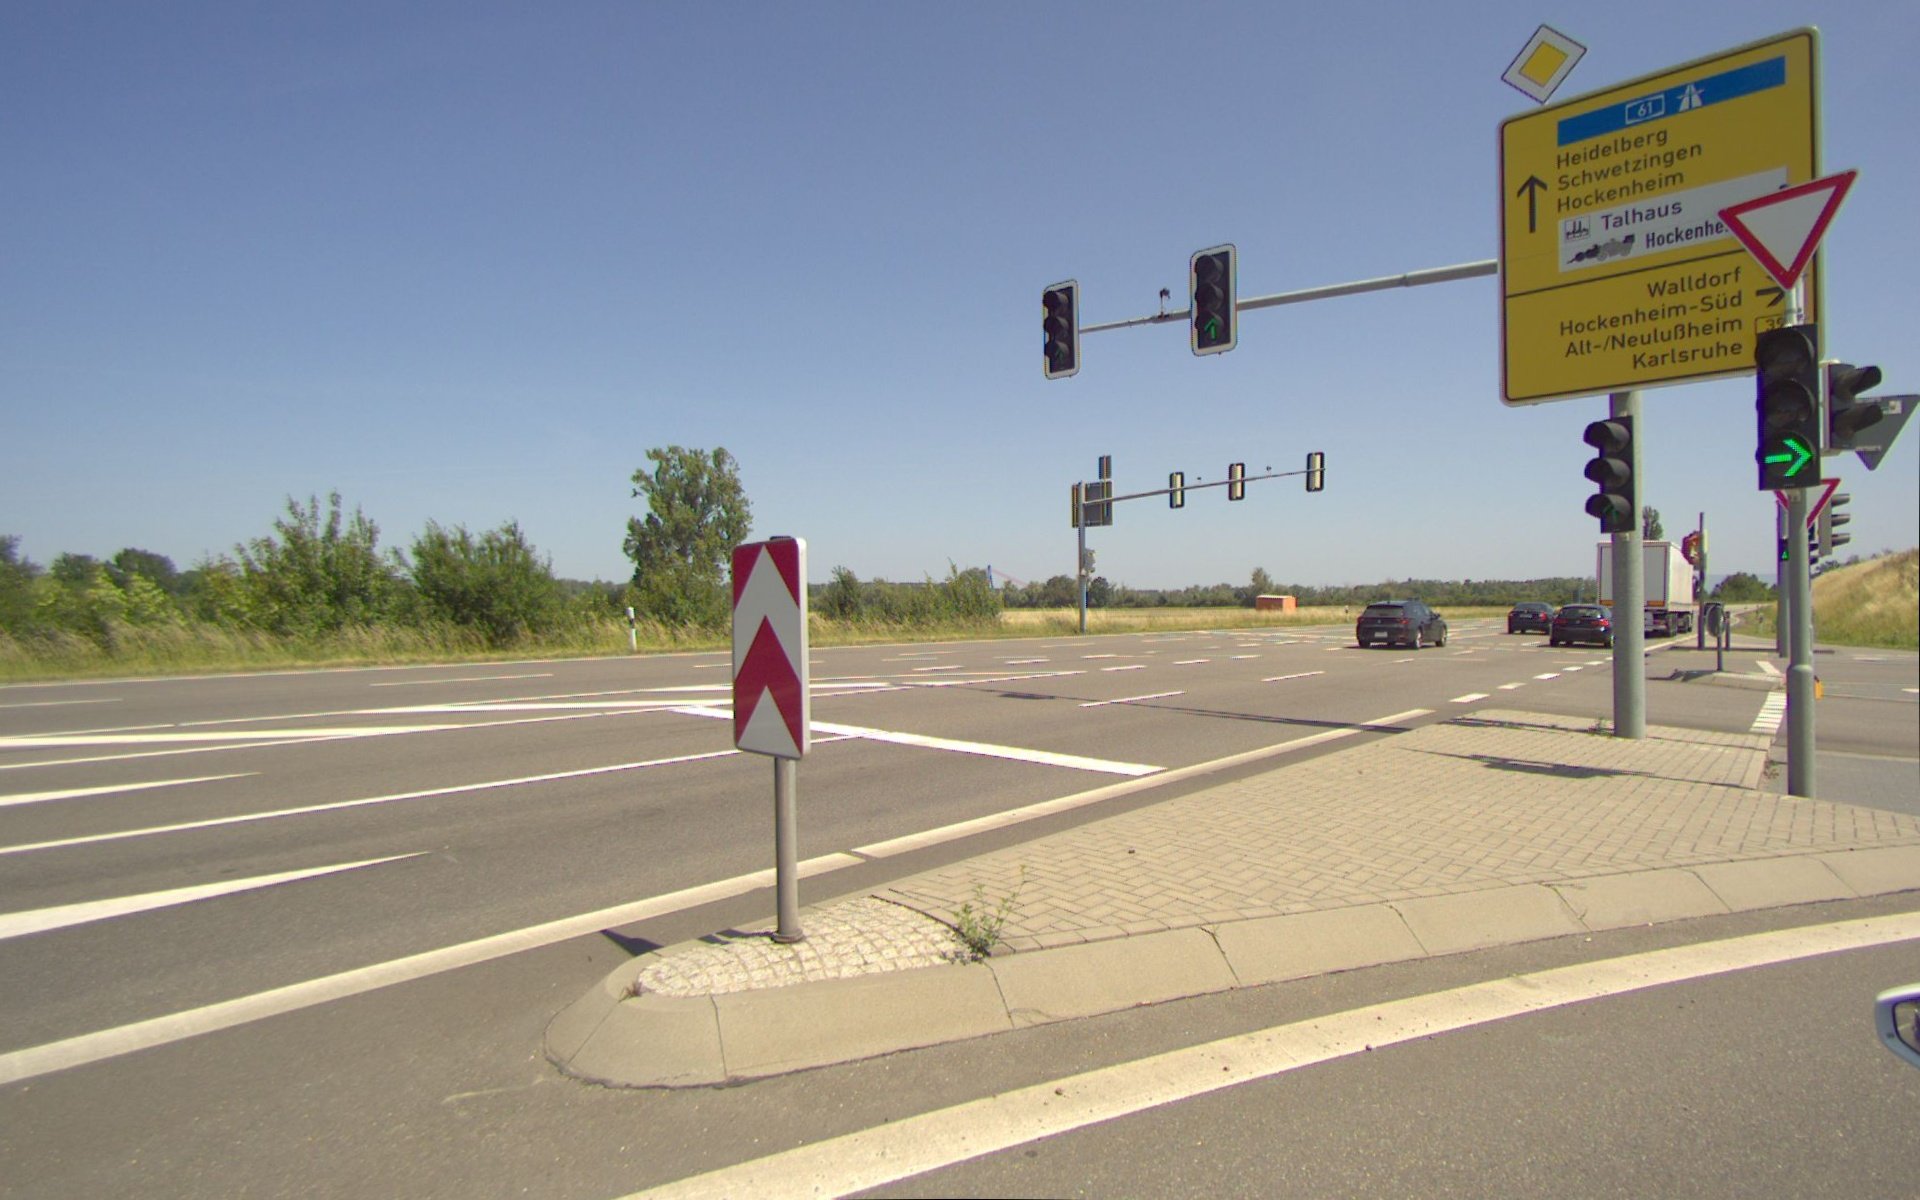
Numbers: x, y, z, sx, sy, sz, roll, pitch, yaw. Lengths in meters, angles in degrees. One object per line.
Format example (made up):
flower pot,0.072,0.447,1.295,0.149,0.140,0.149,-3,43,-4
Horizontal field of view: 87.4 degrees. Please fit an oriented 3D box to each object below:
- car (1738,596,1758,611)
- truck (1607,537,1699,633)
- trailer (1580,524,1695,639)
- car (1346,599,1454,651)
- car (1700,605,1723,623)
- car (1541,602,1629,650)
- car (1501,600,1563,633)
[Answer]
car,101.958,0.458,129.956,1.956,1.894,4.448,1,0,38
truck,35.745,-0.718,51.714,3.340,4.603,6.343,1,1,39
trailer,31.487,-0.746,46.335,3.340,4.603,12.815,1,1,39
car,13.755,0.753,31.293,1.867,1.466,4.504,1,0,40
car,85.561,1.599,114.337,1.956,1.919,4.448,1,0,38
car,21.015,0.816,33.720,1.764,1.450,4.357,2,1,42
car,26.434,0.763,46.329,1.655,1.430,4.444,1,0,41
